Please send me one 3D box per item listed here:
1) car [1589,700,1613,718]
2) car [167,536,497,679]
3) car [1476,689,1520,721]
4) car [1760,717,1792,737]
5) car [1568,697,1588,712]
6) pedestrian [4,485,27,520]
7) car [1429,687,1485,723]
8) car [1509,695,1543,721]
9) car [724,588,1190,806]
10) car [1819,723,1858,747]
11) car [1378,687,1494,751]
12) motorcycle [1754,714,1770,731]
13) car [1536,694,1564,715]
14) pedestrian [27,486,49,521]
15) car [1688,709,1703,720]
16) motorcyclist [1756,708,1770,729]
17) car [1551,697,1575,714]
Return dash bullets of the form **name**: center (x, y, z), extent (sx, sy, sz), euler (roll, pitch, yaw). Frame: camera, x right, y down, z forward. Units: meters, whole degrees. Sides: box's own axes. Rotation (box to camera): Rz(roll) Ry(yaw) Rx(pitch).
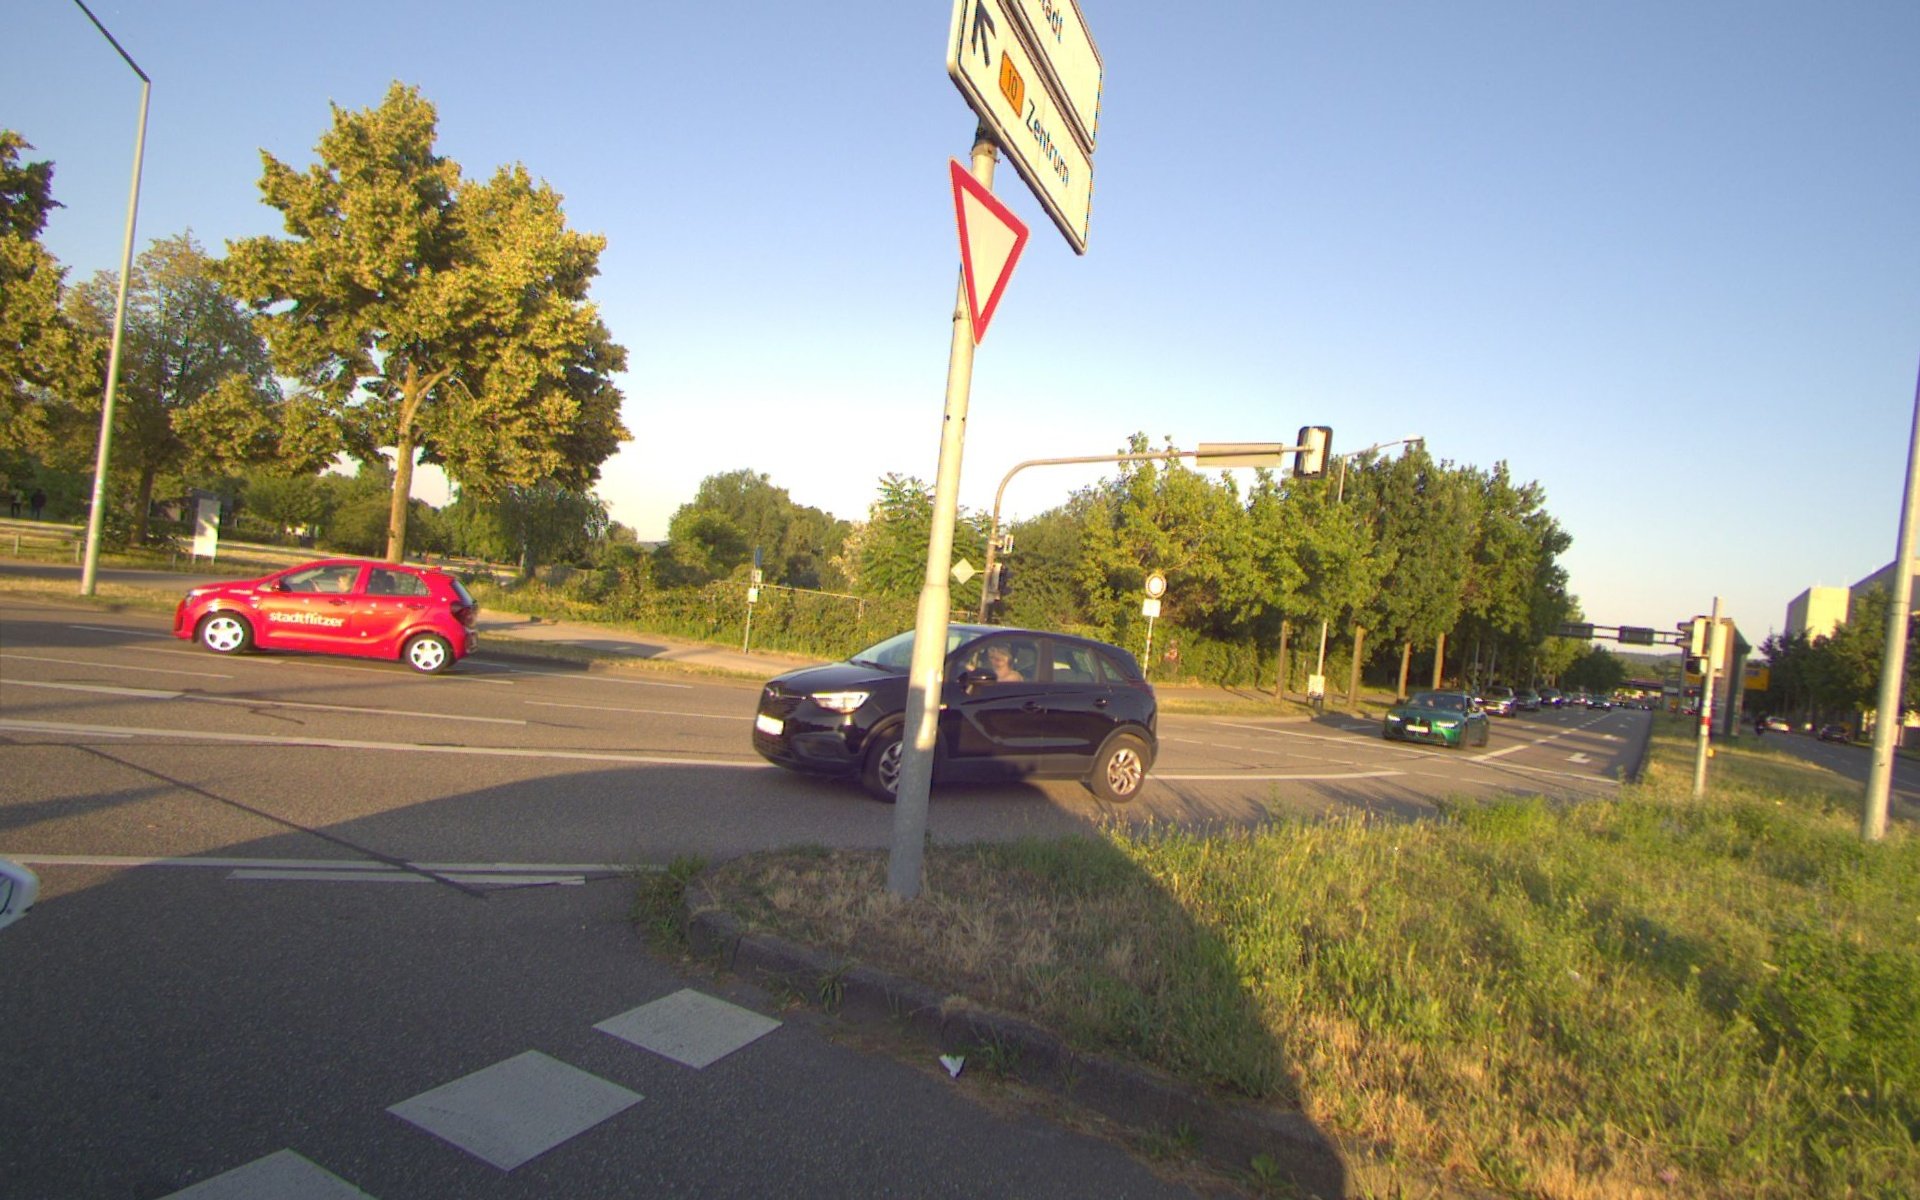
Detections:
- **car**: center (60.596, 10.267, 95.081), extent (1.594, 1.471, 3.707), euler (5, -2, 35)
- **car**: center (-8.646, 0.140, 14.245), extent (3.584, 1.500, 1.719), euler (7, -2, -22)
- **car**: center (29.880, 5.816, 55.843), extent (1.594, 1.536, 3.707), euler (5, -2, 35)
- **car**: center (76.040, 11.786, 93.745), extent (1.774, 1.440, 4.437), euler (7, 0, 34)
- **car**: center (69.386, 11.770, 112.889), extent (1.594, 1.471, 3.707), euler (5, -2, 35)
- **pedestrian**: center (-47.916, -4.954, 51.033), extent (0.525, 1.646, 0.578), euler (7, 0, -21)
- **car**: center (22.103, 4.658, 44.680), extent (1.594, 1.324, 3.707), euler (5, -2, 35)
- **car**: center (39.344, 7.510, 69.870), extent (1.594, 1.536, 3.707), euler (5, -2, 35)
- **car**: center (0.091, 0.970, 9.574), extent (4.100, 1.632, 1.706), euler (8, -2, -36)
- **car**: center (72.072, 11.064, 82.590), extent (1.774, 1.482, 3.989), euler (7, 0, 34)
- **car**: center (12.622, 3.121, 26.532), extent (1.849, 1.324, 4.125), euler (5, -2, 38)
- **motorcycle**: center (58.618, 8.938, 73.550), extent (0.549, 1.114, 2.155), euler (7, -1, 33)
- **car**: center (49.552, 8.799, 84.502), extent (1.594, 1.536, 3.707), euler (5, -2, 35)
- **pedestrian**: center (-47.350, -4.951, 51.679), extent (0.523, 1.646, 0.617), euler (7, 0, -23)
- **car**: center (135.282, 21.043, 185.075), extent (1.789, 1.543, 4.124), euler (7, 0, 34)
- **motorcyclist**: center (58.485, 8.652, 73.297), extent (0.626, 1.425, 0.593), euler (7, 0, 34)
- **car**: center (59.372, 10.401, 99.030), extent (1.594, 1.471, 3.707), euler (5, -2, 35)
